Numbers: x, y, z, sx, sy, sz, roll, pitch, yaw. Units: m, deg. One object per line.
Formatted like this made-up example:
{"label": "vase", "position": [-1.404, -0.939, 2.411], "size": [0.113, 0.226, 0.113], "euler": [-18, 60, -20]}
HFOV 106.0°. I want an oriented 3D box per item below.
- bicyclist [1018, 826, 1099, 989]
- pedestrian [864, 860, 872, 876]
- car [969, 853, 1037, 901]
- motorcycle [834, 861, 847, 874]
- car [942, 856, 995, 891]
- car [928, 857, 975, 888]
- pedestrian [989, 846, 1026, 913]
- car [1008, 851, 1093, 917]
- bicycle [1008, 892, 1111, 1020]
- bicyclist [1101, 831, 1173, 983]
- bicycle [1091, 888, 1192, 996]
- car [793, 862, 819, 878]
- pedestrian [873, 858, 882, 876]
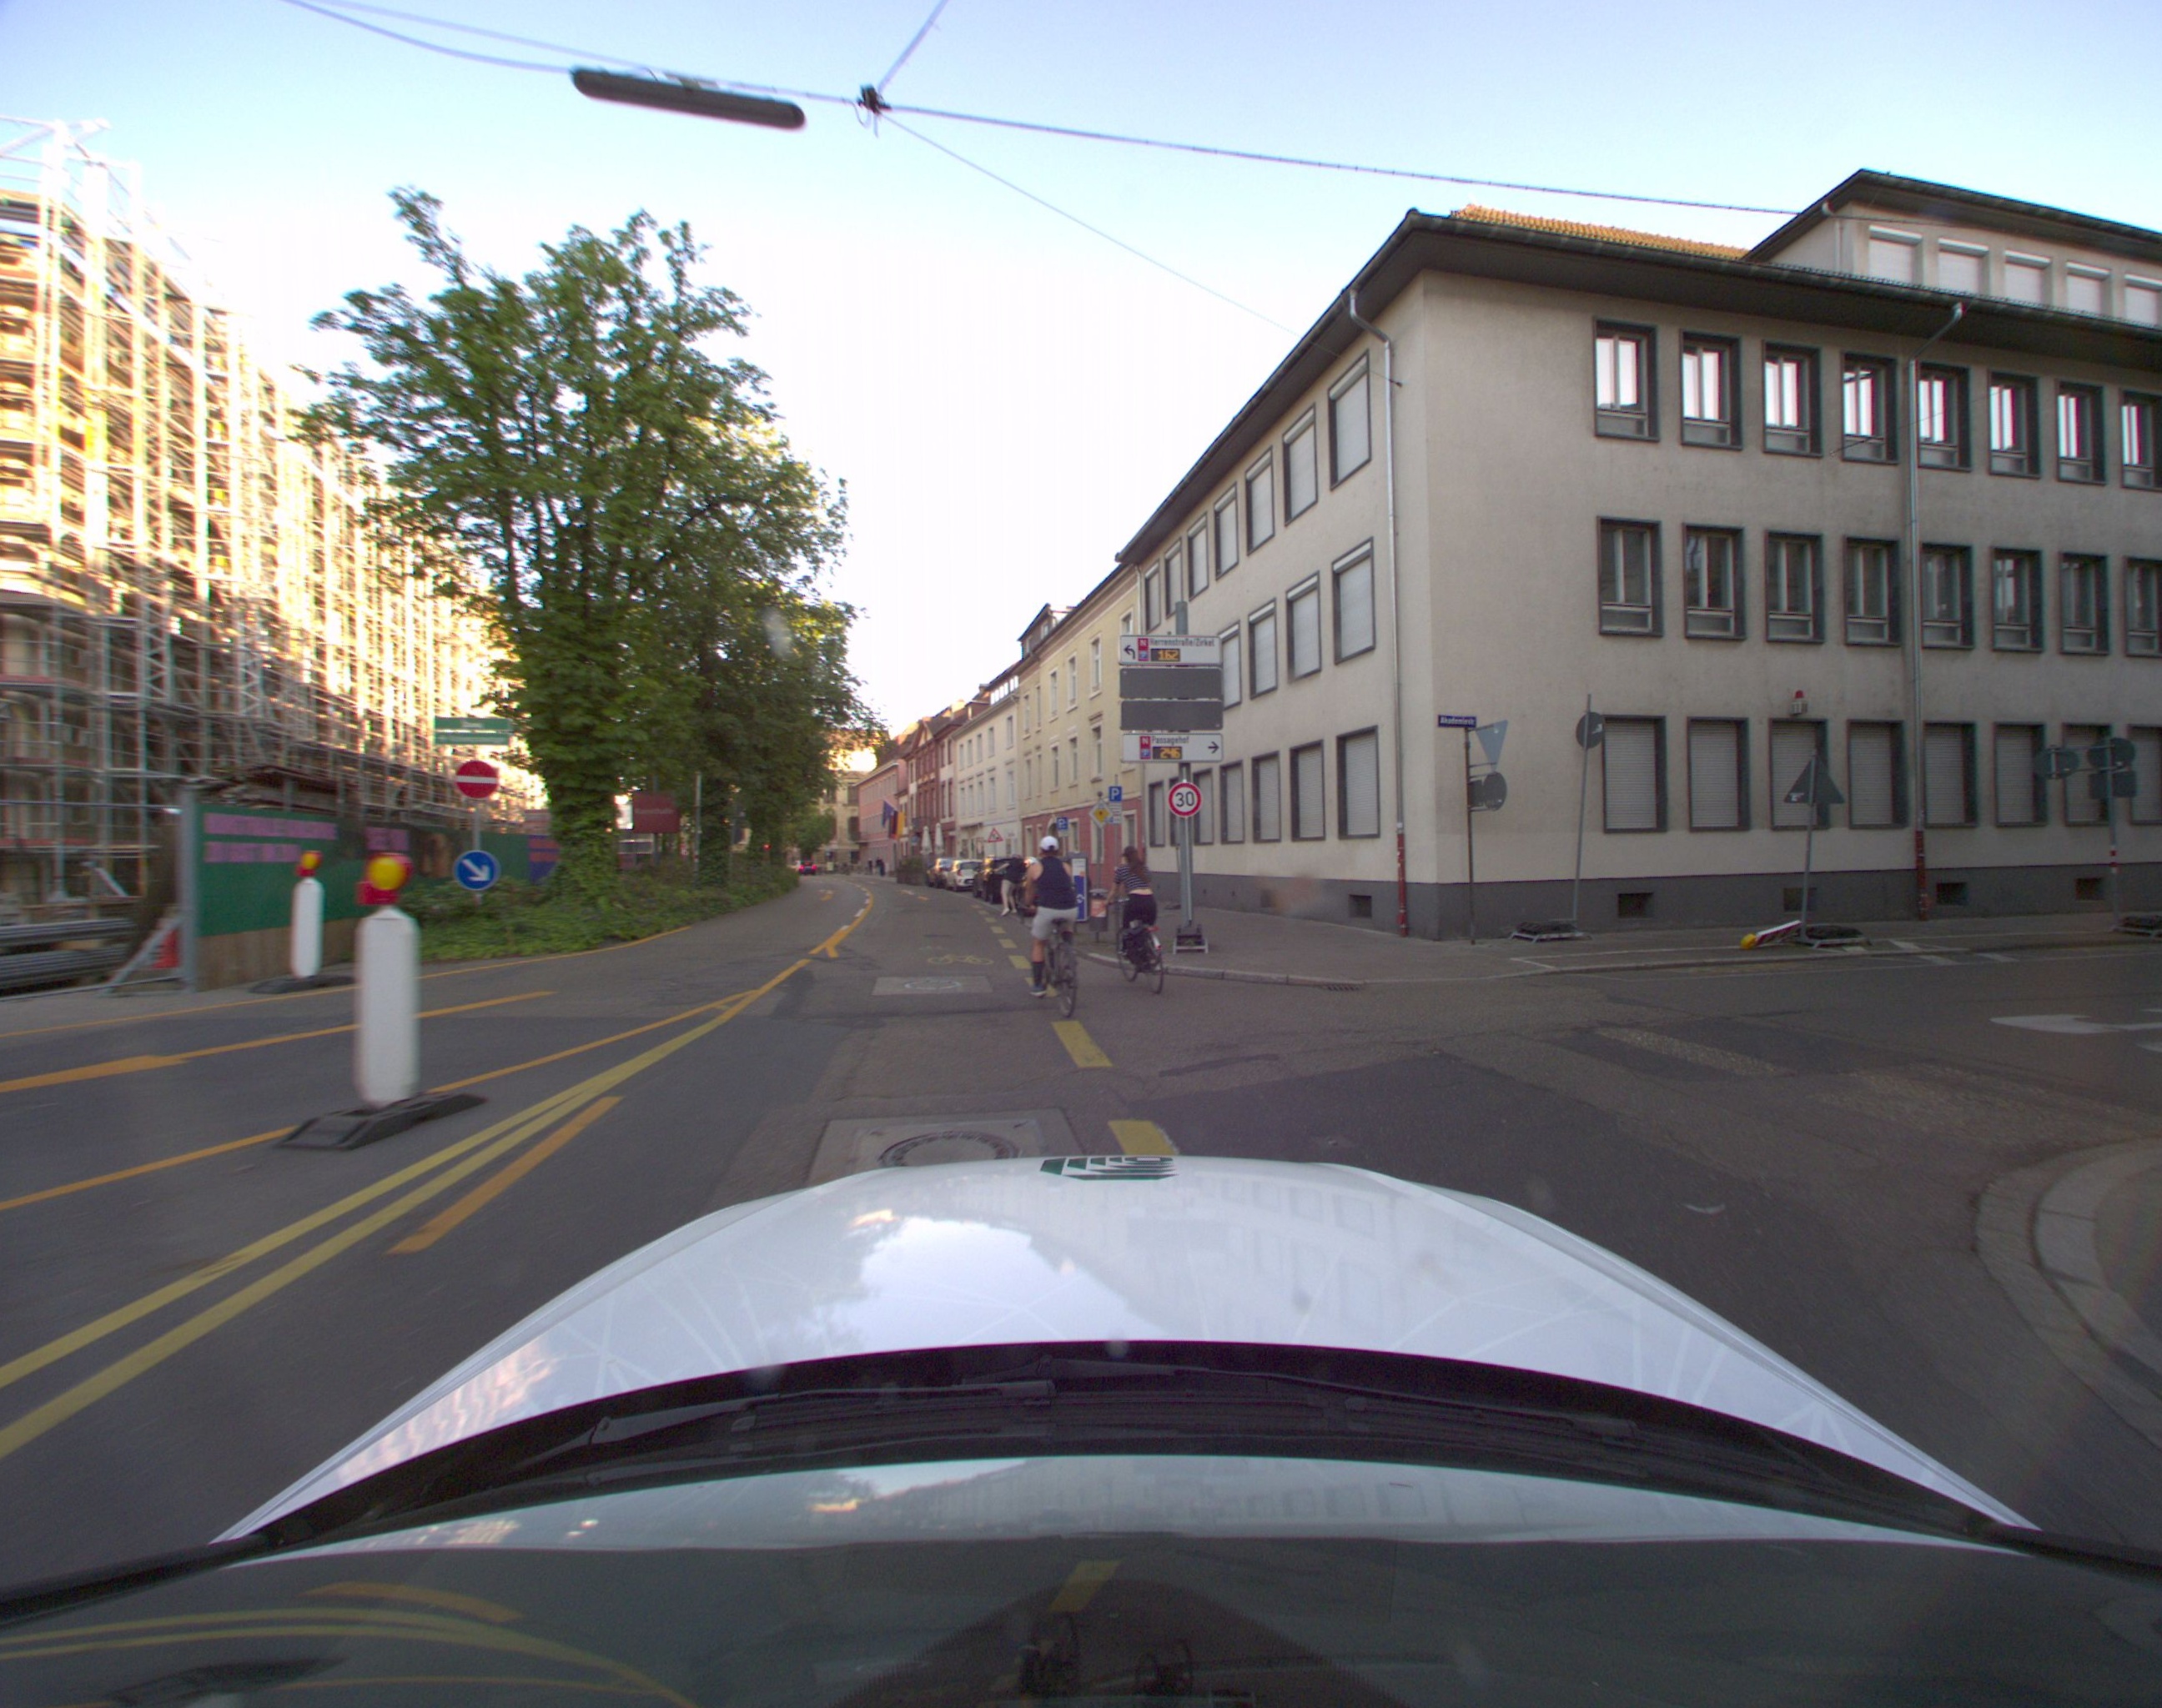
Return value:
{"label": "bicyclist", "position": [-0.237, 0.522, 8.254], "size": [0.669, 1.566, 0.695], "euler": [1, -1, -14]}
{"label": "pedestrian", "position": [-20.753, 1.359, 79.304], "size": [0.670, 1.581, 0.581], "euler": [-1, 0, -21]}
{"label": "car", "position": [-3.057, 0.841, 31.134], "size": [1.817, 1.684, 3.976], "euler": [-1, 0, -17]}
{"label": "motorcycle", "position": [-25.055, 1.374, 84.677], "size": [1.046, 1.248, 2.380], "euler": [-1, 0, -23]}
{"label": "car", "position": [-5.399, 0.877, 38.825], "size": [1.818, 1.560, 3.840], "euler": [-1, 0, -19]}
{"label": "car", "position": [-6.887, 0.937, 42.969], "size": [1.818, 1.560, 3.840], "euler": [-1, 0, -19]}
{"label": "pedestrian", "position": [-2.142, 0.722, 23.652], "size": [0.902, 1.866, 0.926], "euler": [-1, 0, -17]}
{"label": "car", "position": [-0.969, 0.790, 23.296], "size": [1.813, 1.682, 3.904], "euler": [-1, 0, -11]}
{"label": "bicycle", "position": [-0.270, 0.968, 8.354], "size": [0.670, 1.071, 1.892], "euler": [0, 0, -14]}
{"label": "bicyclist", "position": [0.669, 0.614, 9.933], "size": [0.650, 1.760, 0.861], "euler": [1, 0, -11]}
{"label": "bicycle", "position": [0.670, 0.988, 9.879], "size": [0.653, 1.071, 2.249], "euler": [1, 0, -11]}
{"label": "car", "position": [-27.429, 1.591, 81.070], "size": [1.823, 1.560, 3.829], "euler": [-1, 0, -29]}
{"label": "pedestrian", "position": [-19.823, 1.241, 79.471], "size": [0.753, 1.762, 0.581], "euler": [-1, 0, -21]}
